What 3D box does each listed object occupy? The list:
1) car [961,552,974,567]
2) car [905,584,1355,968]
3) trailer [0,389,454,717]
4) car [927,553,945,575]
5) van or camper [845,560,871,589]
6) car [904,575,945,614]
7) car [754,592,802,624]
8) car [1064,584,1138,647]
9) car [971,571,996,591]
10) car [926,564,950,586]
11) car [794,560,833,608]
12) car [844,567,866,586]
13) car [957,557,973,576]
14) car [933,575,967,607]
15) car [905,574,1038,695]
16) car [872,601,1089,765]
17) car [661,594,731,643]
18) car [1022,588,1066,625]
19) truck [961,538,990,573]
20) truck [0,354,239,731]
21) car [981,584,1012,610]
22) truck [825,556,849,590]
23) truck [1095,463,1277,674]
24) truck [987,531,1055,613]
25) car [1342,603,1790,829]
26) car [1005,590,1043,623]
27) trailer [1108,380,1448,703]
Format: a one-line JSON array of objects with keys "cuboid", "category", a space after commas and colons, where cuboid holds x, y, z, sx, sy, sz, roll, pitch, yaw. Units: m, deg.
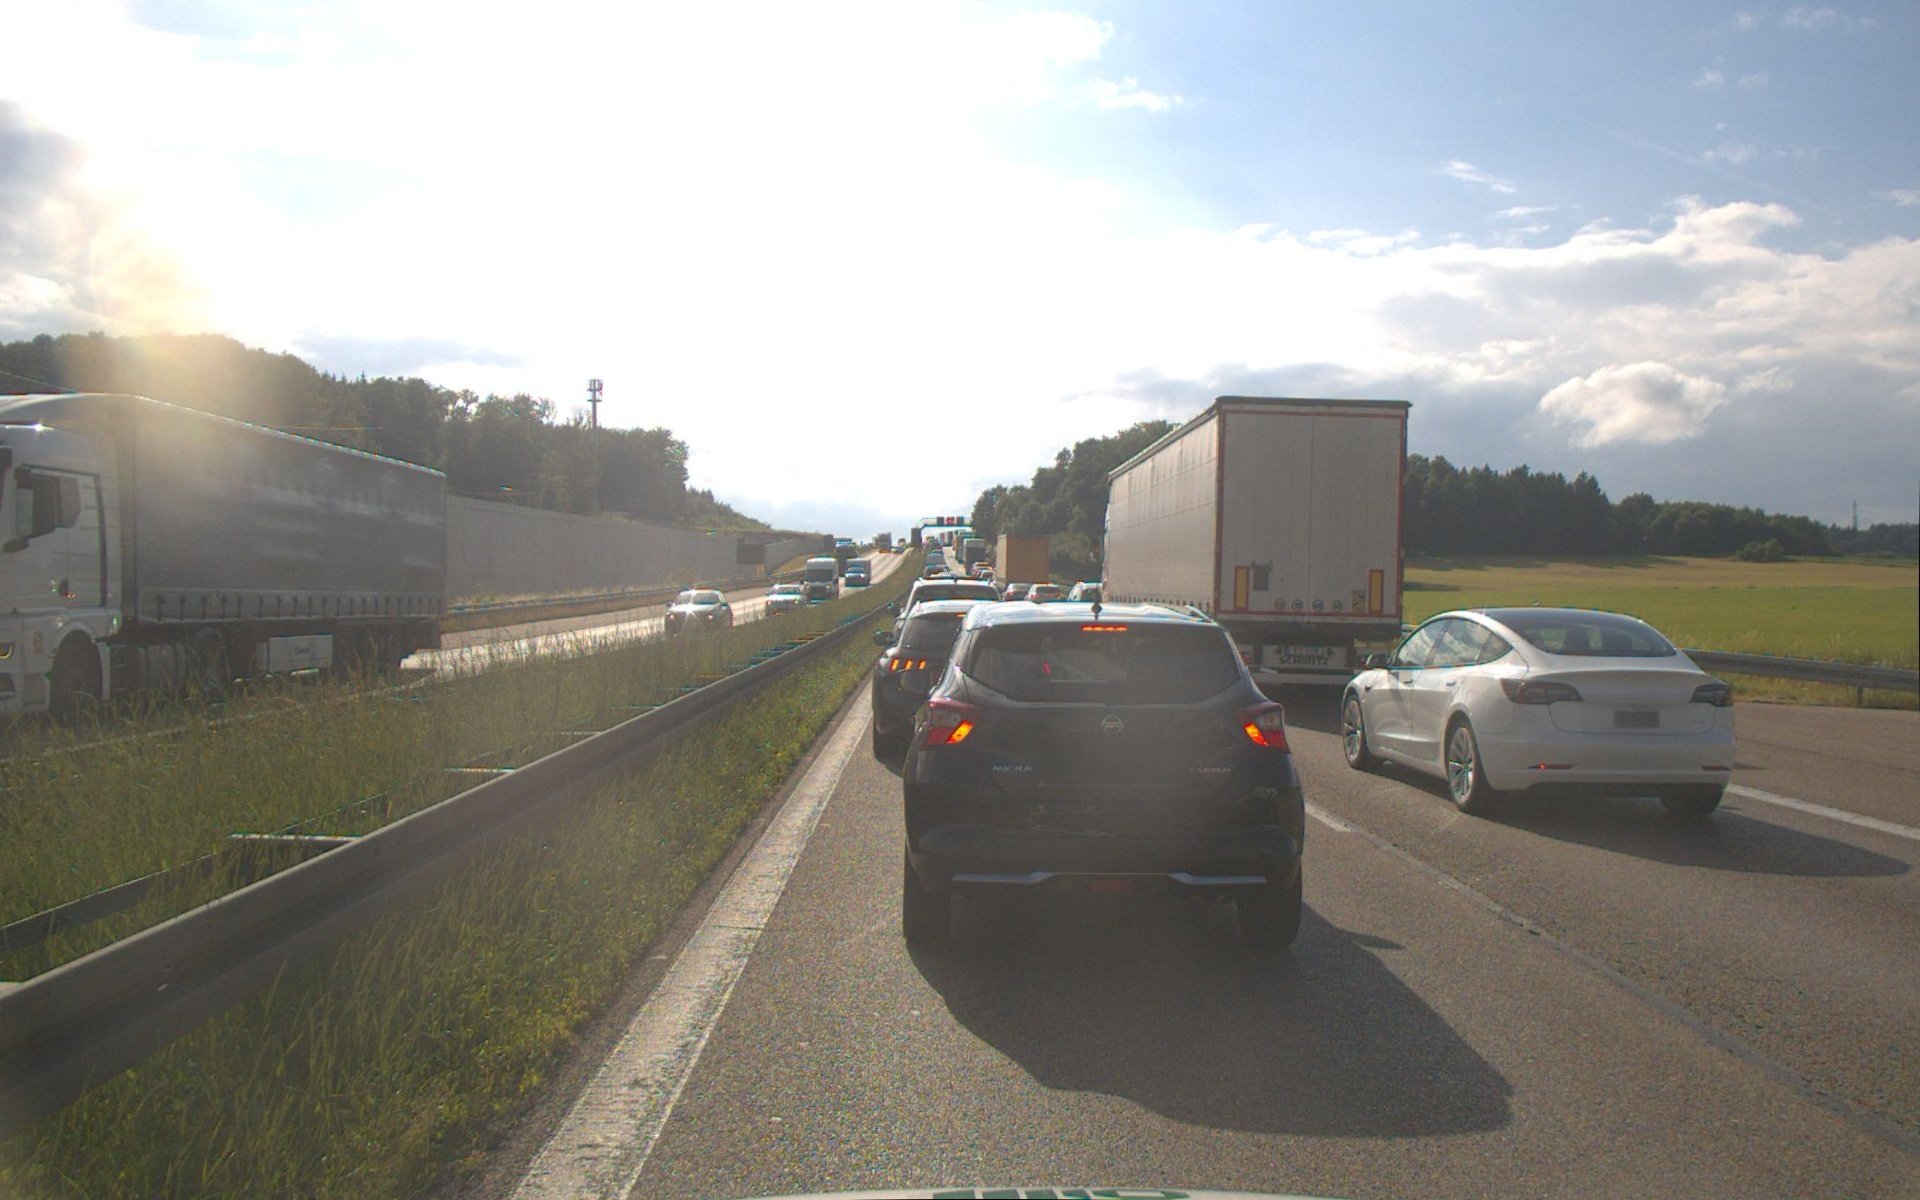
[{"cuboid": [1.118, -6.293, 255.904, 1.835, 2.196, 5.211, 0, 3, -1], "category": "car"}, {"cuboid": [0.634, 0.676, 8.500, 1.737, 1.476, 4.231, 0, 0, -1], "category": "car"}, {"cuboid": [-11.873, -0.597, 27.916, 2.734, 4.148, 13.516, -1, 0, -1], "category": "trailer"}, {"cuboid": [-2.586, -3.911, 176.920, 1.835, 2.196, 5.211, 0, 3, -1], "category": "car"}, {"cuboid": [-9.798, -2.421, 159.584, 2.207, 2.751, 7.168, 0, 0, -1], "category": "van or camper"}, {"cuboid": [-1.610, -0.273, 75.504, 1.835, 1.673, 4.232, 0, 1, -1], "category": "car"}, {"cuboid": [-8.528, 0.373, 77.838, 1.835, 1.476, 4.231, 0, 0, -1], "category": "car"}, {"cuboid": [3.823, 0.407, 45.407, 1.663, 1.639, 4.437, 0, 0, 0], "category": "car"}, {"cuboid": [1.994, -1.674, 143.831, 1.836, 1.673, 4.229, 0, 2, -4], "category": "car"}, {"cuboid": [-1.776, -2.037, 133.124, 1.835, 1.673, 4.231, 0, 2, -2], "category": "car"}, {"cuboid": [-9.098, -0.953, 103.418, 2.061, 2.920, 5.635, 0, 0, -1], "category": "car"}, {"cuboid": [-9.771, -2.181, 153.805, 1.872, 1.700, 4.361, 0, 1, -1], "category": "car"}, {"cuboid": [0.639, -4.083, 200.903, 1.835, 2.196, 5.211, 0, 3, -1], "category": "car"}, {"cuboid": [-0.567, -0.515, 92.997, 1.835, 1.673, 4.232, 0, 2, -1], "category": "car"}, {"cuboid": [0.139, 0.471, 24.962, 1.835, 1.673, 4.231, 0, 0, -1], "category": "car"}, {"cuboid": [0.154, 0.702, 16.086, 1.835, 1.381, 4.231, 0, 0, -1], "category": "car"}, {"cuboid": [-8.312, 0.555, 52.334, 1.618, 1.476, 3.955, 0, 0, -1], "category": "car"}, {"cuboid": [3.955, 0.278, 78.667, 1.835, 1.673, 4.232, 0, 1, -1], "category": "car"}, {"cuboid": [2.052, -6.041, 226.484, 3.395, 4.656, 12.437, 1, 1, -2], "category": "truck"}, {"cuboid": [-11.729, -0.601, 20.989, 2.720, 4.159, 5.530, -2, 0, -1], "category": "truck"}, {"cuboid": [2.452, -0.213, 112.360, 1.836, 1.673, 4.230, 0, 1, -3], "category": "car"}, {"cuboid": [-14.853, -3.290, 200.563, 2.530, 3.991, 5.721, -1, 0, -1], "category": "truck"}, {"cuboid": [4.640, -0.590, 34.938, 3.069, 4.086, 5.163, 1, -1, 0], "category": "truck"}, {"cuboid": [3.612, -1.564, 101.586, 3.230, 4.657, 12.434, 1, 0, -2], "category": "truck"}, {"cuboid": [4.425, 0.753, 12.887, 1.752, 1.418, 4.435, 0, 0, -2], "category": "car"}, {"cuboid": [3.393, 0.324, 88.095, 1.835, 1.673, 4.232, 0, 1, -1], "category": "car"}, {"cuboid": [4.676, -0.656, 27.861, 3.067, 4.081, 13.364, 1, -1, 0], "category": "trailer"}]
